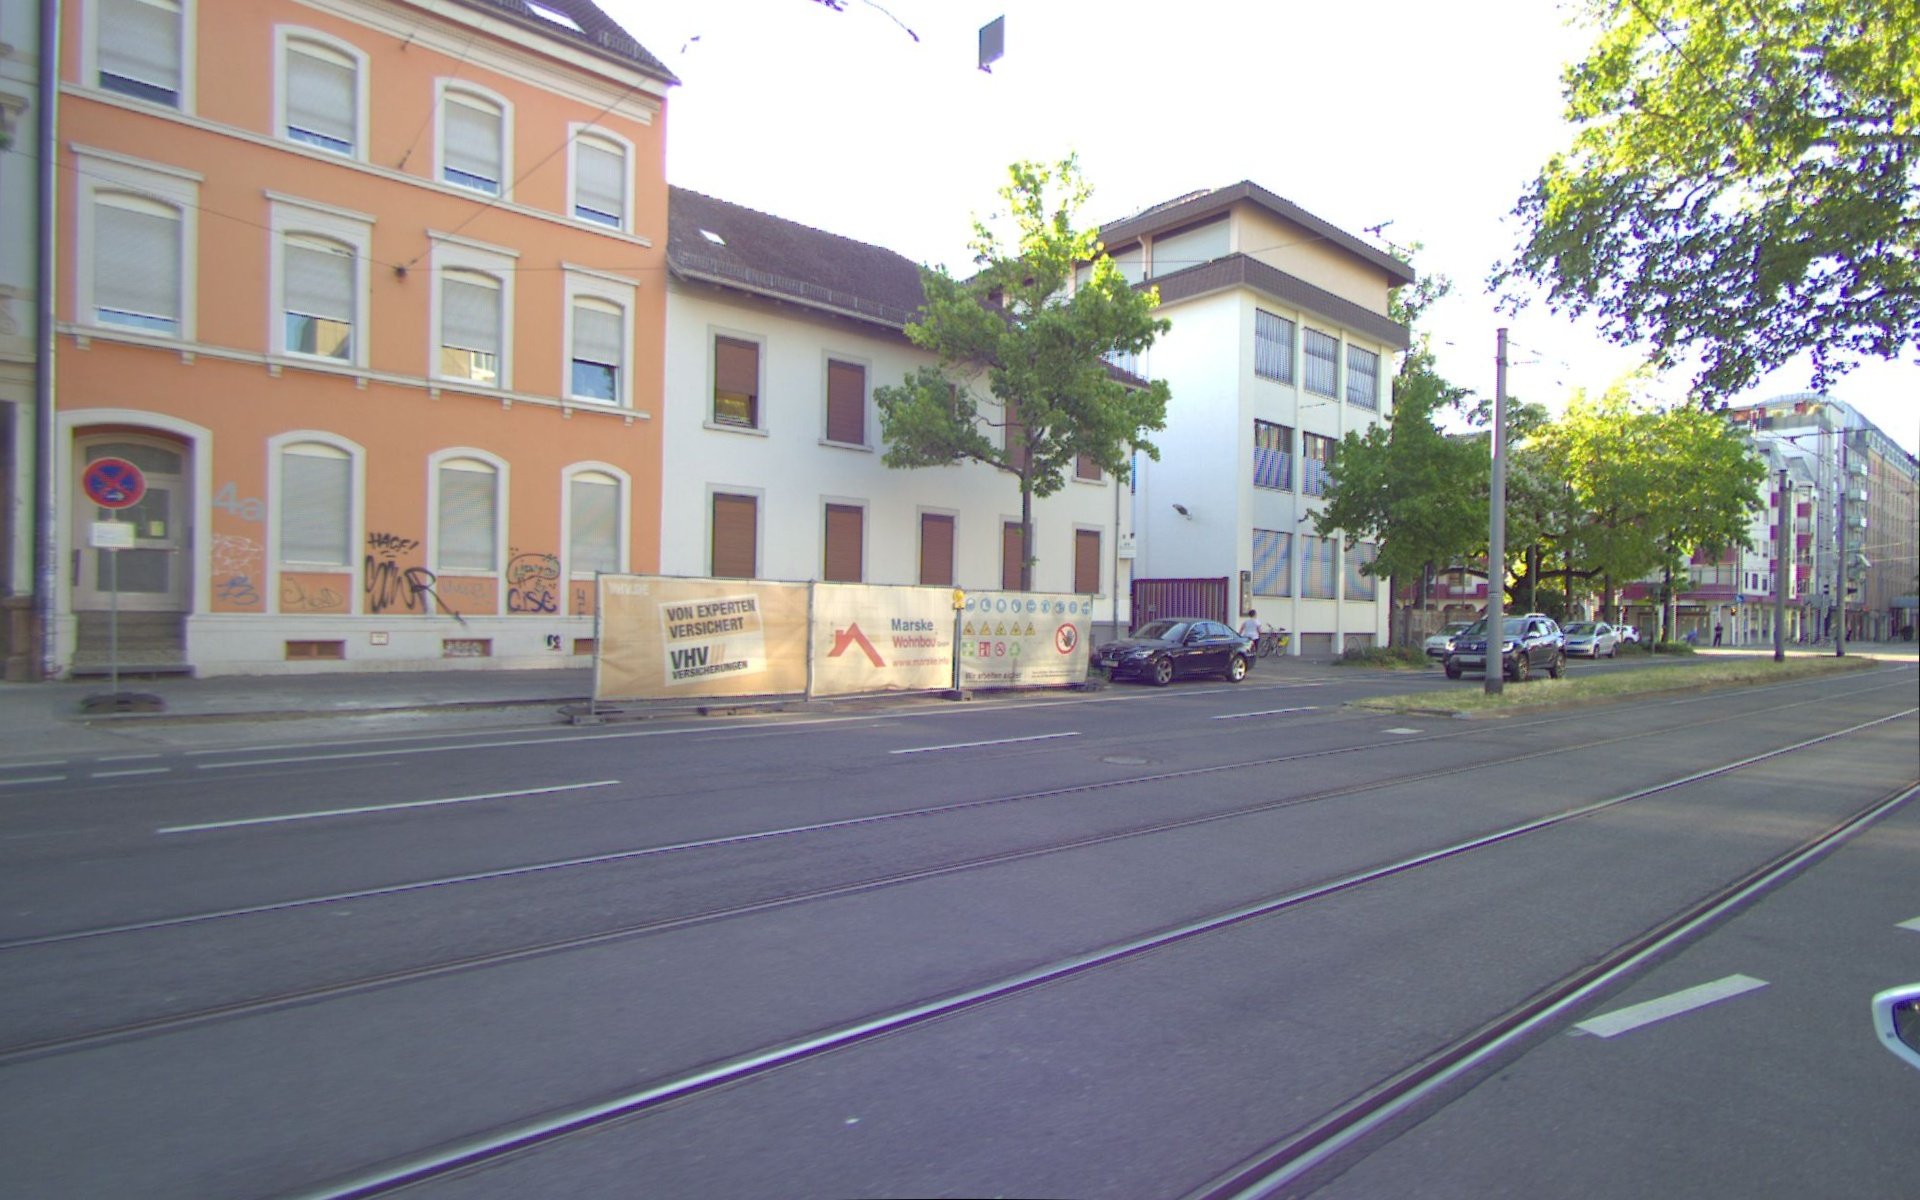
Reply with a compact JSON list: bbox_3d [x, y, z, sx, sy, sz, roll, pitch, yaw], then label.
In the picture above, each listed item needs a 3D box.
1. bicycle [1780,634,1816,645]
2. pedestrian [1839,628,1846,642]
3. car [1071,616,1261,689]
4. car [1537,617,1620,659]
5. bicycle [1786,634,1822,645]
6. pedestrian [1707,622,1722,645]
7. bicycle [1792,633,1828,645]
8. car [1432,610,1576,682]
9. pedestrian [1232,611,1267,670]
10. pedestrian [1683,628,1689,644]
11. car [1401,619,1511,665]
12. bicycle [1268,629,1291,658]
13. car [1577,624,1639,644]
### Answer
[{"bbox_3d":[65.548,3.068,78.580,0.636,0.797,2.149,1,-1,-42],"label":"bicycle"},{"bbox_3d":[91.031,3.587,103.582,0.525,1.478,0.505,1,-1,-45],"label":"pedestrian"},{"bbox_3d":[4.930,1.161,23.628,4.688,1.534,1.976,1,-1,-41],"label":"car"},{"bbox_3d":[26.717,1.622,43.363,4.147,1.711,1.975,1,-1,-42],"label":"car"},{"bbox_3d":[66.282,3.076,78.870,0.488,0.797,2.149,1,-1,-42],"label":"bicycle"},{"bbox_3d":[55.372,2.463,73.693,1.027,1.684,0.701,1,-2,-44],"label":"pedestrian"},{"bbox_3d":[67.397,3.087,79.631,0.524,0.835,2.149,1,-1,-42],"label":"bicycle"},{"bbox_3d":[14.076,1.130,25.900,4.278,1.711,1.975,1,-1,-42],"label":"car"},{"bbox_3d":[8.291,1.153,28.750,0.726,1.642,0.629,1,0,-41],"label":"pedestrian"},{"bbox_3d":[55.119,2.757,76.266,0.316,1.230,0.300,1,-2,-45],"label":"pedestrian"},{"bbox_3d":[17.252,1.419,34.829,4.373,1.490,1.975,1,-1,-42],"label":"car"},{"bbox_3d":[11.138,1.507,35.033,1.011,1.016,0.300,1,-1,-42],"label":"bicycle"},{"bbox_3d":[50.811,2.644,78.804,3.939,1.483,1.794,-1,-2,39],"label":"car"}]
